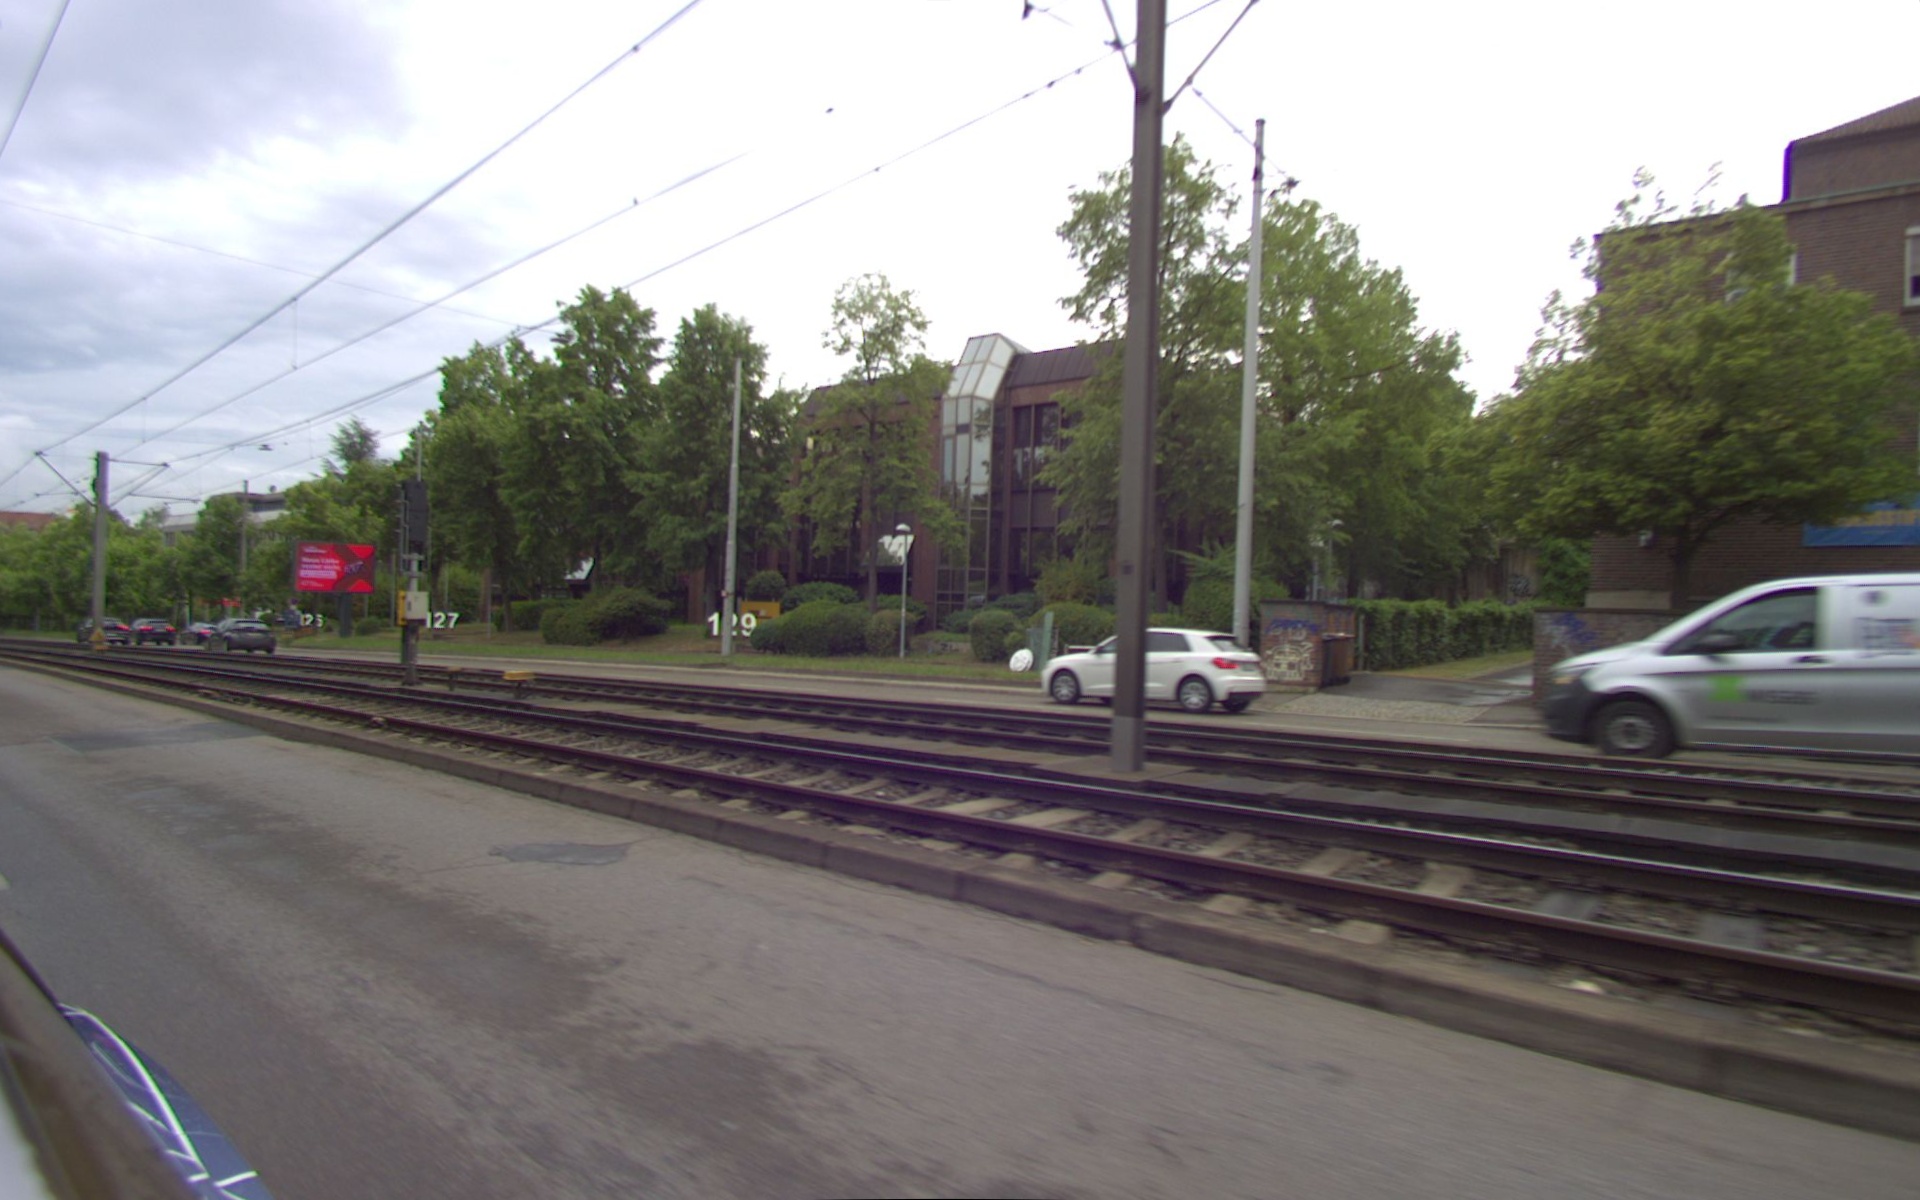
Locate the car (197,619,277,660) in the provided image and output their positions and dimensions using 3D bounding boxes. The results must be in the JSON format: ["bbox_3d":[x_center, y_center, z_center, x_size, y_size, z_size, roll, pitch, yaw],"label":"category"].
[{"bbox_3d":[-30.266,1.634,42.313,4.337,1.650,1.670,-1,-2,40],"label":"car"}]

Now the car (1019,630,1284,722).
[{"bbox_3d":[3.296,1.280,17.893,4.360,1.428,1.670,-2,-4,40],"label":"car"}]

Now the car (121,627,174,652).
[{"bbox_3d":[-50.380,2.442,62.752,4.337,1.523,1.746,-1,-2,40],"label":"car"}]

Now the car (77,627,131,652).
[{"bbox_3d":[-49.322,2.239,58.290,4.337,1.404,1.670,-1,-2,40],"label":"car"}]

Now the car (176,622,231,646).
[{"bbox_3d":[-49.582,2.216,66.317,4.337,1.513,1.933,-1,-2,40],"label":"car"}]

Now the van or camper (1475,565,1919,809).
[{"bbox_3d":[8.055,0.735,9.239,5.689,1.974,1.894,-1,-2,40],"label":"van or camper"}]
